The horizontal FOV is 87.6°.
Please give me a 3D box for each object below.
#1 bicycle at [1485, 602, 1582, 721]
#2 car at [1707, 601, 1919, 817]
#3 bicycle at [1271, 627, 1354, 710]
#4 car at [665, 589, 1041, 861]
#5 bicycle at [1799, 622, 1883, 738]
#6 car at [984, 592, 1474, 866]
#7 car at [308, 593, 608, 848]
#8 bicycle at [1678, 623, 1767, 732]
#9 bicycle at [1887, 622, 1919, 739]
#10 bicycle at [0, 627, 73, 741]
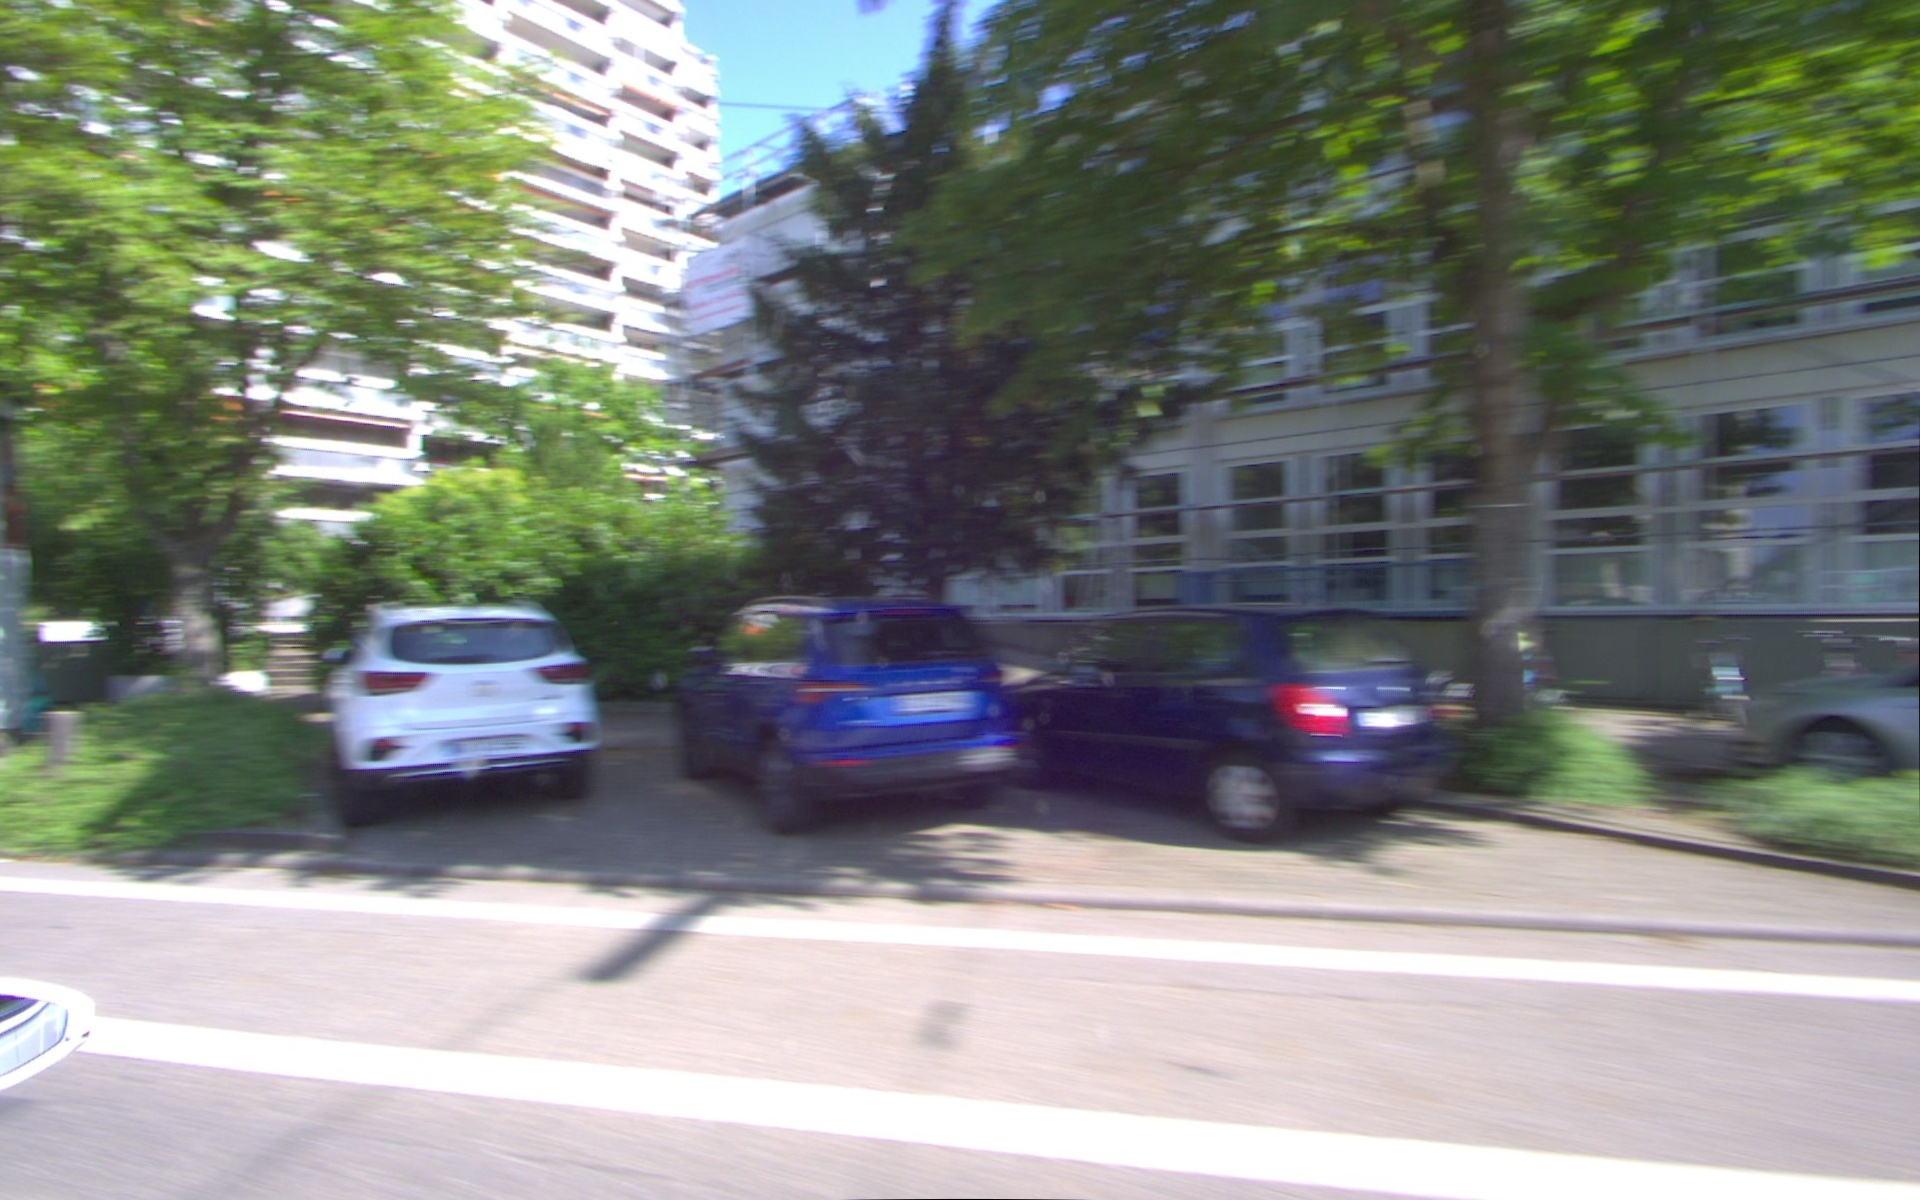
[{"bbox_3d":[7.689,0.771,13.382,0.656,1.472,2.071,-1,0,43],"label":"bicycle"},{"bbox_3d":[7.941,0.744,6.695,1.760,1.505,4.410,0,-1,-32],"label":"car"},{"bbox_3d":[5.275,0.970,14.898,0.732,1.100,2.192,-1,-1,31],"label":"bicycle"},{"bbox_3d":[-1.124,0.748,8.268,1.754,1.644,3.926,-1,1,-28],"label":"car"},{"bbox_3d":[10.288,0.877,11.670,0.656,1.204,2.071,-1,-1,43],"label":"bicycle"},{"bbox_3d":[1.776,0.764,7.554,1.555,1.551,3.438,0,-1,-32],"label":"car"},{"bbox_3d":[-4.555,0.830,8.755,1.795,1.628,3.920,-3,1,-34],"label":"car"},{"bbox_3d":[9.421,0.903,12.342,0.656,1.204,2.071,-1,-1,43],"label":"bicycle"},{"bbox_3d":[10.816,0.857,11.182,0.656,1.204,2.071,-1,-1,43],"label":"bicycle"},{"bbox_3d":[-11.620,0.995,12.023,1.590,1.326,0.547,-1,0,8],"label":"bicycle"}]
